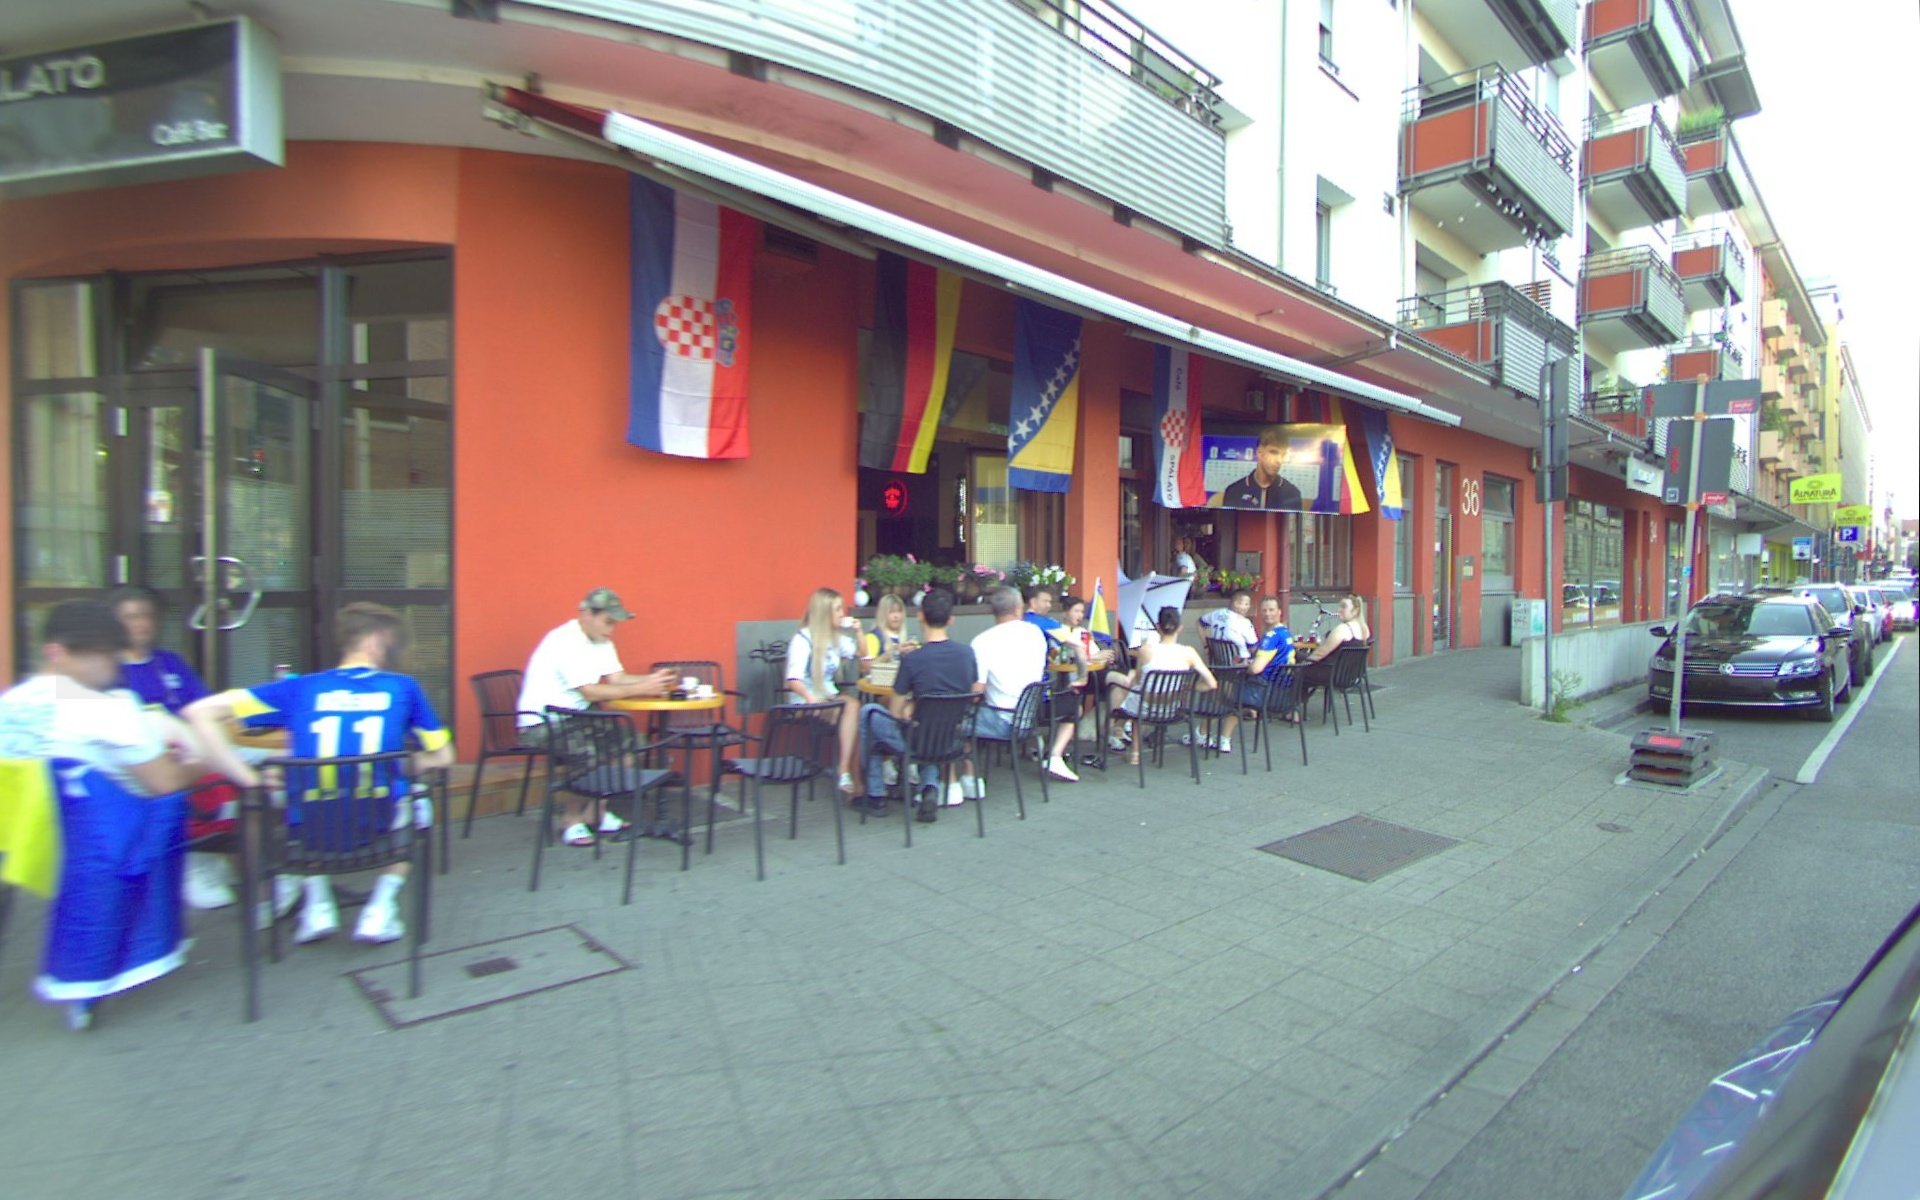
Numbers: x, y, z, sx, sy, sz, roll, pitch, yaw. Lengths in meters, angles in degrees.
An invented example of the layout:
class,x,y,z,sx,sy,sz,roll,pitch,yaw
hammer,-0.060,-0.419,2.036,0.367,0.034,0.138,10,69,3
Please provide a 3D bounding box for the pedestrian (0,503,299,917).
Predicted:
class,x,y,z,sx,sy,sz,roll,pitch,yaw
pedestrian,-3.457,0.413,4.293,0.703,1.555,0.850,-1,0,10

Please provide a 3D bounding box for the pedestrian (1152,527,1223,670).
class,x,y,z,sx,sy,sz,roll,pitch,yaw
pedestrian,3.346,-0.035,14.906,0.799,2.039,0.670,0,1,-35

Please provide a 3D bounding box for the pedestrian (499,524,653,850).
class,x,y,z,sx,sy,sz,roll,pitch,yaw
pedestrian,-1.962,0.407,5.258,0.635,1.555,0.754,-1,0,-12

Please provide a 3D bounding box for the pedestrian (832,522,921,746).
class,x,y,z,sx,sy,sz,roll,pitch,yaw
pedestrian,-0.699,0.265,8.481,0.536,1.799,0.513,0,1,42

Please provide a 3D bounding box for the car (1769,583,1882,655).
class,x,y,z,sx,sy,sz,roll,pitch,yaw
car,18.874,0.349,22.016,1.747,1.421,3.906,0,0,42

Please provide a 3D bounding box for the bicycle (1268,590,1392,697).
class,x,y,z,sx,sy,sz,roll,pitch,yaw
bicycle,4.215,0.451,11.454,0.549,1.101,1.973,-1,0,44

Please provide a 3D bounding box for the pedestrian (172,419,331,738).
class,x,y,z,sx,sy,sz,roll,pitch,yaw
pedestrian,-4.913,-0.149,7.087,0.838,2.039,0.912,0,1,-31

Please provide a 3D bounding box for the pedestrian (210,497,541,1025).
class,x,y,z,sx,sy,sz,roll,pitch,yaw
pedestrian,-2.036,0.454,3.520,0.839,1.554,0.713,-1,5,-44

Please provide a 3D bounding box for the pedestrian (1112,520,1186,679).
class,x,y,z,sx,sy,sz,roll,pitch,yaw
pedestrian,2.169,-0.014,11.629,0.610,1.760,0.608,0,1,44

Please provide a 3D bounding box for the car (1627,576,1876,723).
class,x,y,z,sx,sy,sz,roll,pitch,yaw
car,10.382,0.502,13.139,4.553,1.571,1.875,-1,0,-43

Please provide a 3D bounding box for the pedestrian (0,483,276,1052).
class,x,y,z,sx,sy,sz,roll,pitch,yaw
pedestrian,-2.626,0.455,3.164,0.675,1.555,0.715,2,0,-28

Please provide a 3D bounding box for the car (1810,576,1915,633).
class,x,y,z,sx,sy,sz,roll,pitch,yaw
car,25.738,0.094,28.808,4.321,1.495,1.864,-1,0,-43

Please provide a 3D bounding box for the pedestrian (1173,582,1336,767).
class,x,y,z,sx,sy,sz,roll,pitch,yaw
pedestrian,2.298,0.532,7.954,0.835,1.321,0.880,-1,3,-25

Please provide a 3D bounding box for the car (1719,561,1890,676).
class,x,y,z,sx,sy,sz,roll,pitch,yaw
car,14.480,0.248,17.280,4.071,1.721,1.879,-1,0,-45

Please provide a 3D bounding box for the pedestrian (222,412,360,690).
class,x,y,z,sx,sy,sz,roll,pitch,yaw
pedestrian,-5.233,-0.370,7.971,0.845,2.039,0.815,0,1,-30

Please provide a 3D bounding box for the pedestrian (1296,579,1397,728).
class,x,y,z,sx,sy,sz,roll,pitch,yaw
pedestrian,3.651,0.468,9.557,0.843,1.293,0.709,1,4,23

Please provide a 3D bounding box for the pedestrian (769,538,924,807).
class,x,y,z,sx,sy,sz,roll,pitch,yaw
pedestrian,-0.713,0.407,6.351,0.673,1.554,0.644,4,3,43

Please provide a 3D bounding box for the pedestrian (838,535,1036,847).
class,x,y,z,sx,sy,sz,roll,pitch,yaw
pedestrian,-0.126,0.445,5.614,0.712,1.554,0.748,6,4,41

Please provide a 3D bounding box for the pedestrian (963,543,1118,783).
class,x,y,z,sx,sy,sz,roll,pitch,yaw
pedestrian,0.563,0.406,7.112,0.849,1.555,0.669,-1,0,42

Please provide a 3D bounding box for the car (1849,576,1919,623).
class,x,y,z,sx,sy,sz,roll,pitch,yaw
car,31.307,-0.053,33.907,4.229,1.495,1.894,-1,0,-43

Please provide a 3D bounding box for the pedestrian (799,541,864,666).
class,x,y,z,sx,sy,sz,roll,pitch,yaw
pedestrian,-1.926,0.039,15.128,0.746,1.815,0.650,0,1,-35

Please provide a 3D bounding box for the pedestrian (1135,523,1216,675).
class,x,y,z,sx,sy,sz,roll,pitch,yaw
pedestrian,2.584,-0.021,12.115,0.716,1.742,0.658,0,1,44

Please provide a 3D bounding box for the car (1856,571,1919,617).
class,x,y,z,sx,sy,sz,roll,pitch,yaw
car,35.268,-0.237,37.914,4.291,1.637,1.997,-1,0,-41

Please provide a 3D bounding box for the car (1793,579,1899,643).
class,x,y,z,sx,sy,sz,roll,pitch,yaw
car,22.606,0.227,25.778,3.883,1.495,1.764,-1,0,-45

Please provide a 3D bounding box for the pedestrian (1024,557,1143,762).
class,x,y,z,sx,sy,sz,roll,pitch,yaw
pedestrian,0.931,0.413,7.656,0.665,1.451,0.552,3,3,42

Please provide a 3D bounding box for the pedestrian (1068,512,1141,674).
class,x,y,z,sx,sy,sz,roll,pitch,yaw
pedestrian,1.669,-0.087,11.710,0.610,1.799,0.608,0,1,42

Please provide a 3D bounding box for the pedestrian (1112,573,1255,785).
class,x,y,z,sx,sy,sz,roll,pitch,yaw
pedestrian,1.575,0.509,7.127,0.653,1.361,0.738,4,3,42

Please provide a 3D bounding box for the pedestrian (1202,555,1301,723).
class,x,y,z,sx,sy,sz,roll,pitch,yaw
pedestrian,2.861,0.359,9.904,0.843,1.555,0.709,-1,0,23

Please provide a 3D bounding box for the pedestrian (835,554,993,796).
class,x,y,z,sx,sy,sz,roll,pitch,yaw
pedestrian,-0.313,0.459,6.923,0.767,1.523,0.771,1,1,43

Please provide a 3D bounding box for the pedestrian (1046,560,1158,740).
class,x,y,z,sx,sy,sz,roll,pitch,yaw
pedestrian,1.196,0.393,8.539,0.712,1.439,0.592,-1,0,44

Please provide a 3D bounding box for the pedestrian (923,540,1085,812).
class,x,y,z,sx,sy,sz,roll,pitch,yaw
pedestrian,0.273,0.424,6.286,0.648,1.545,0.690,6,4,41
